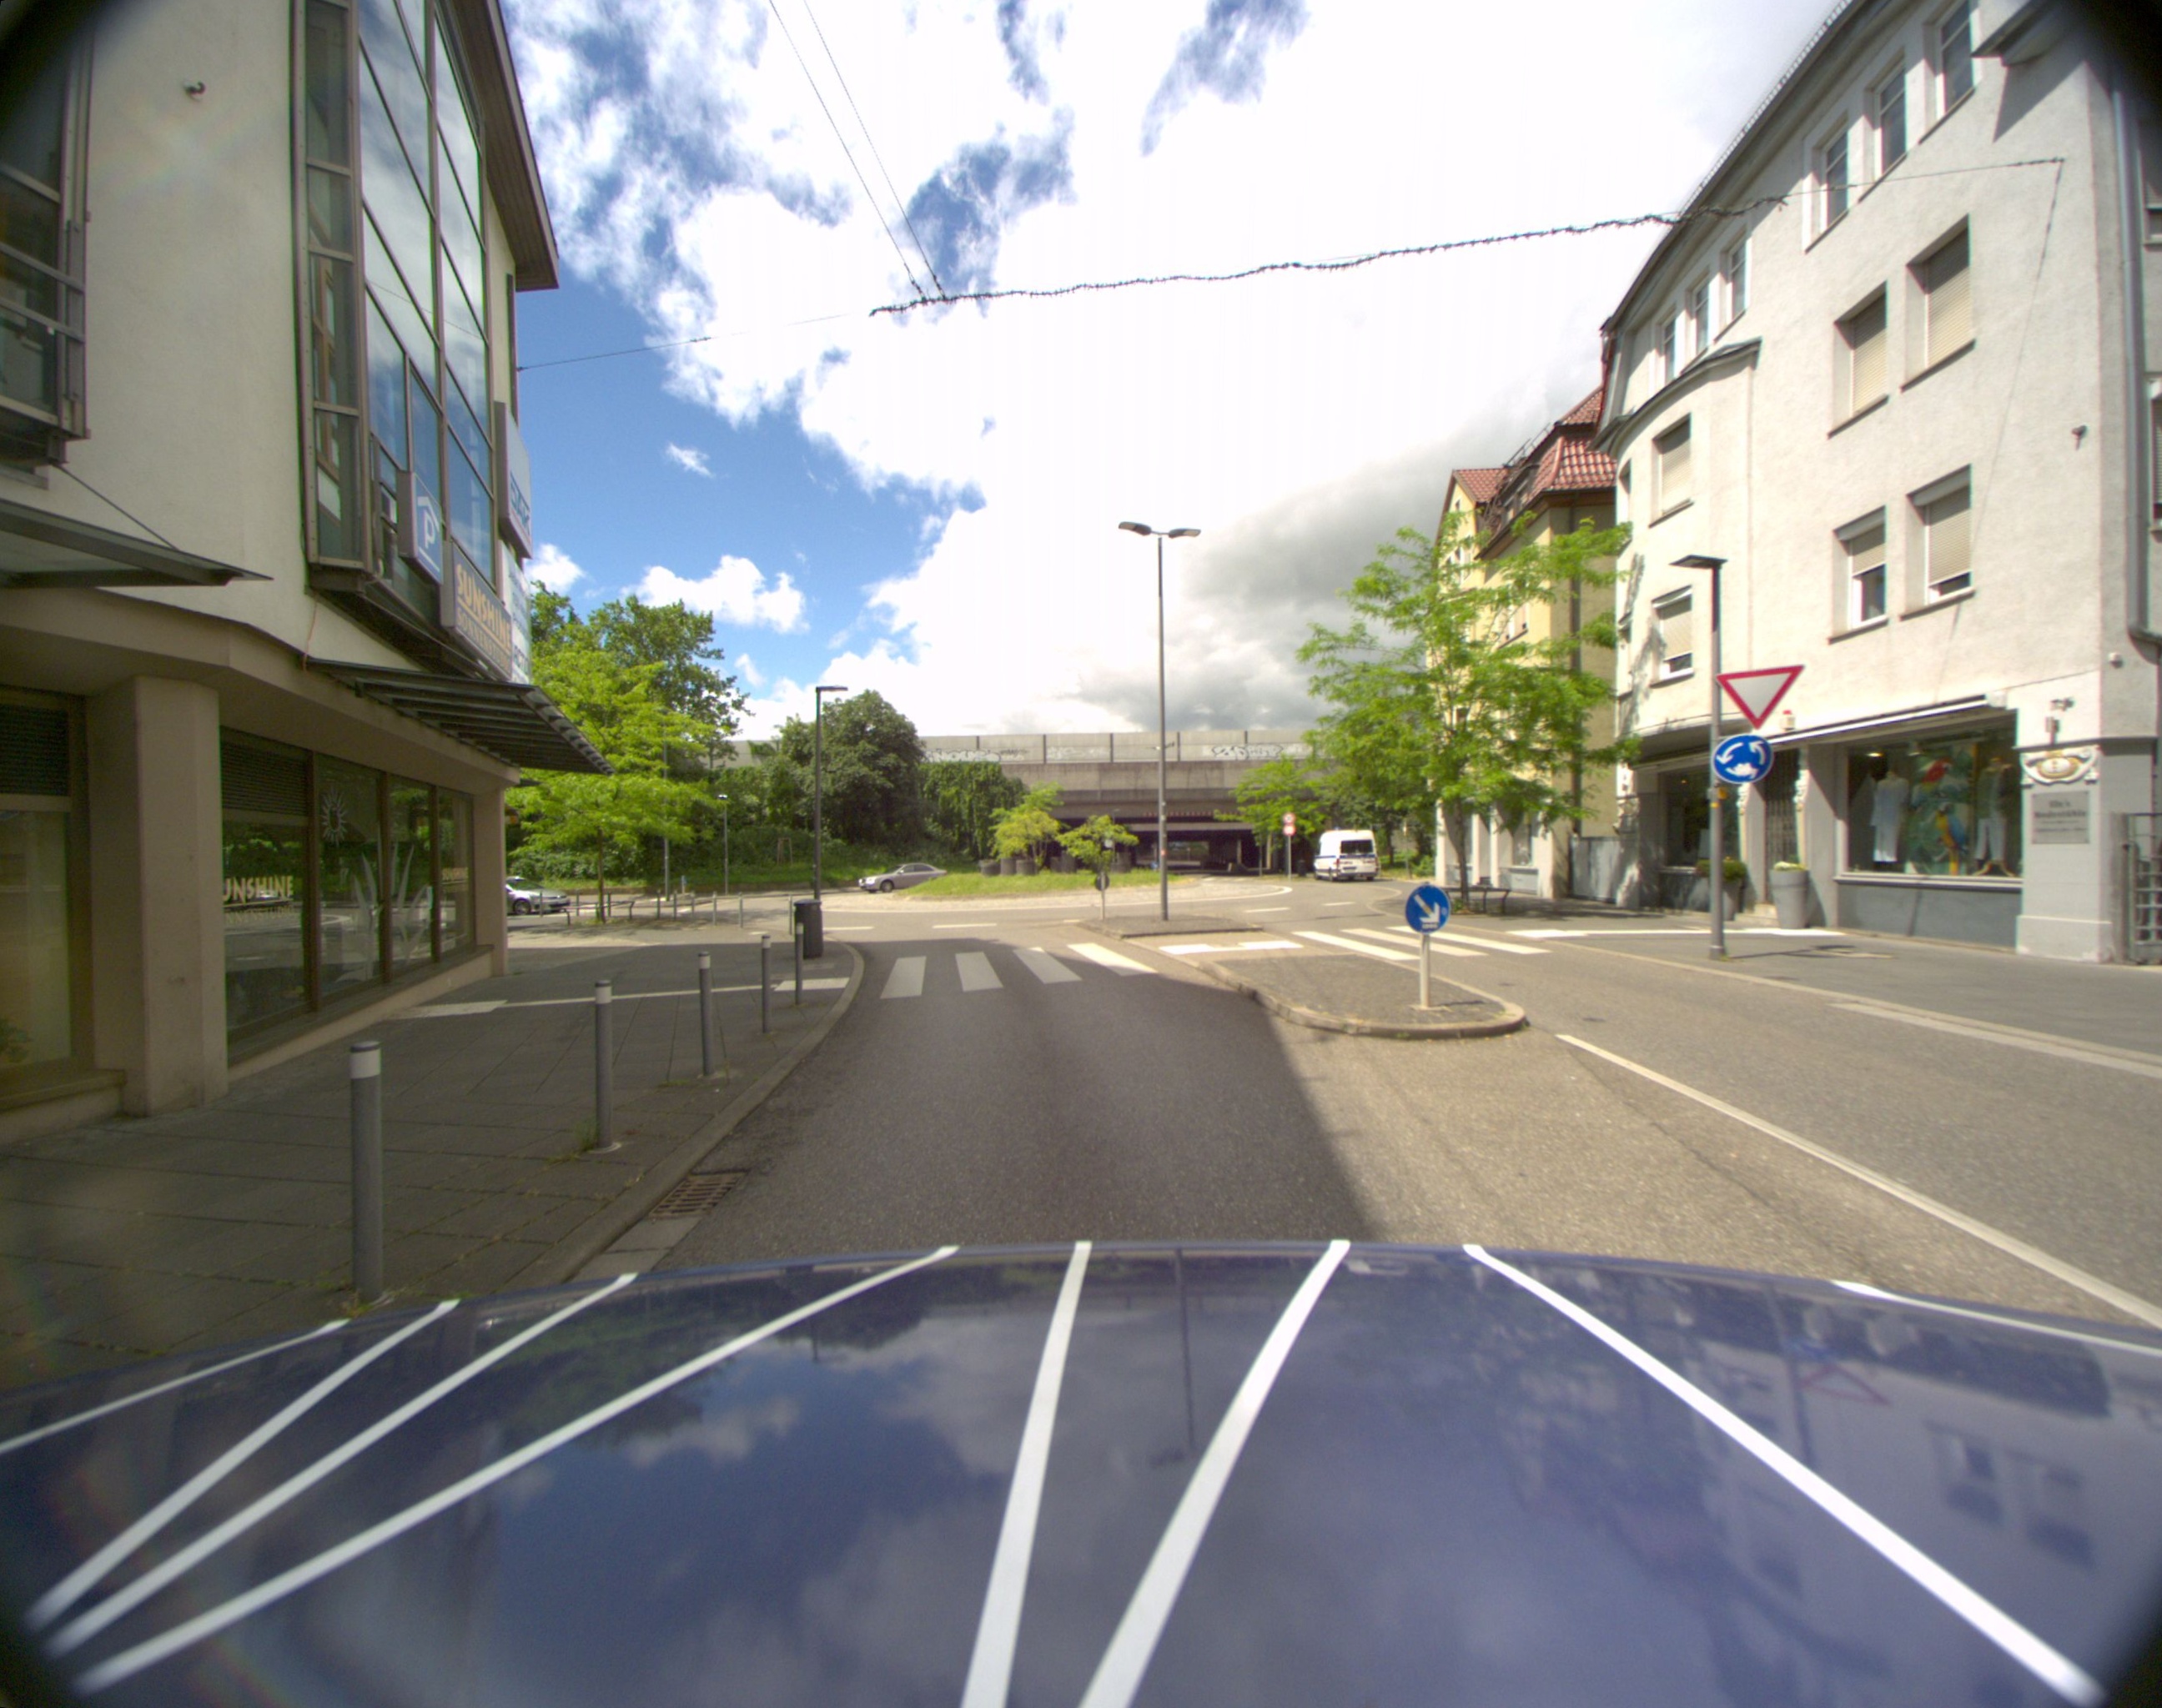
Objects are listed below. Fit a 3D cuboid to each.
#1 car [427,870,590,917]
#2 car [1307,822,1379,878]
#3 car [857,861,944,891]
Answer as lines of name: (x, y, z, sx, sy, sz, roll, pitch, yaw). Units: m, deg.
car: (-21.678, 1.475, 28.930, 4.582, 1.500, 1.999, -2, 2, -2)
car: (13.354, -0.186, 39.085, 1.972, 2.591, 5.932, -2, 0, 4)
car: (-9.292, 1.107, 39.358, 4.007, 1.346, 1.711, -2, 0, -41)
